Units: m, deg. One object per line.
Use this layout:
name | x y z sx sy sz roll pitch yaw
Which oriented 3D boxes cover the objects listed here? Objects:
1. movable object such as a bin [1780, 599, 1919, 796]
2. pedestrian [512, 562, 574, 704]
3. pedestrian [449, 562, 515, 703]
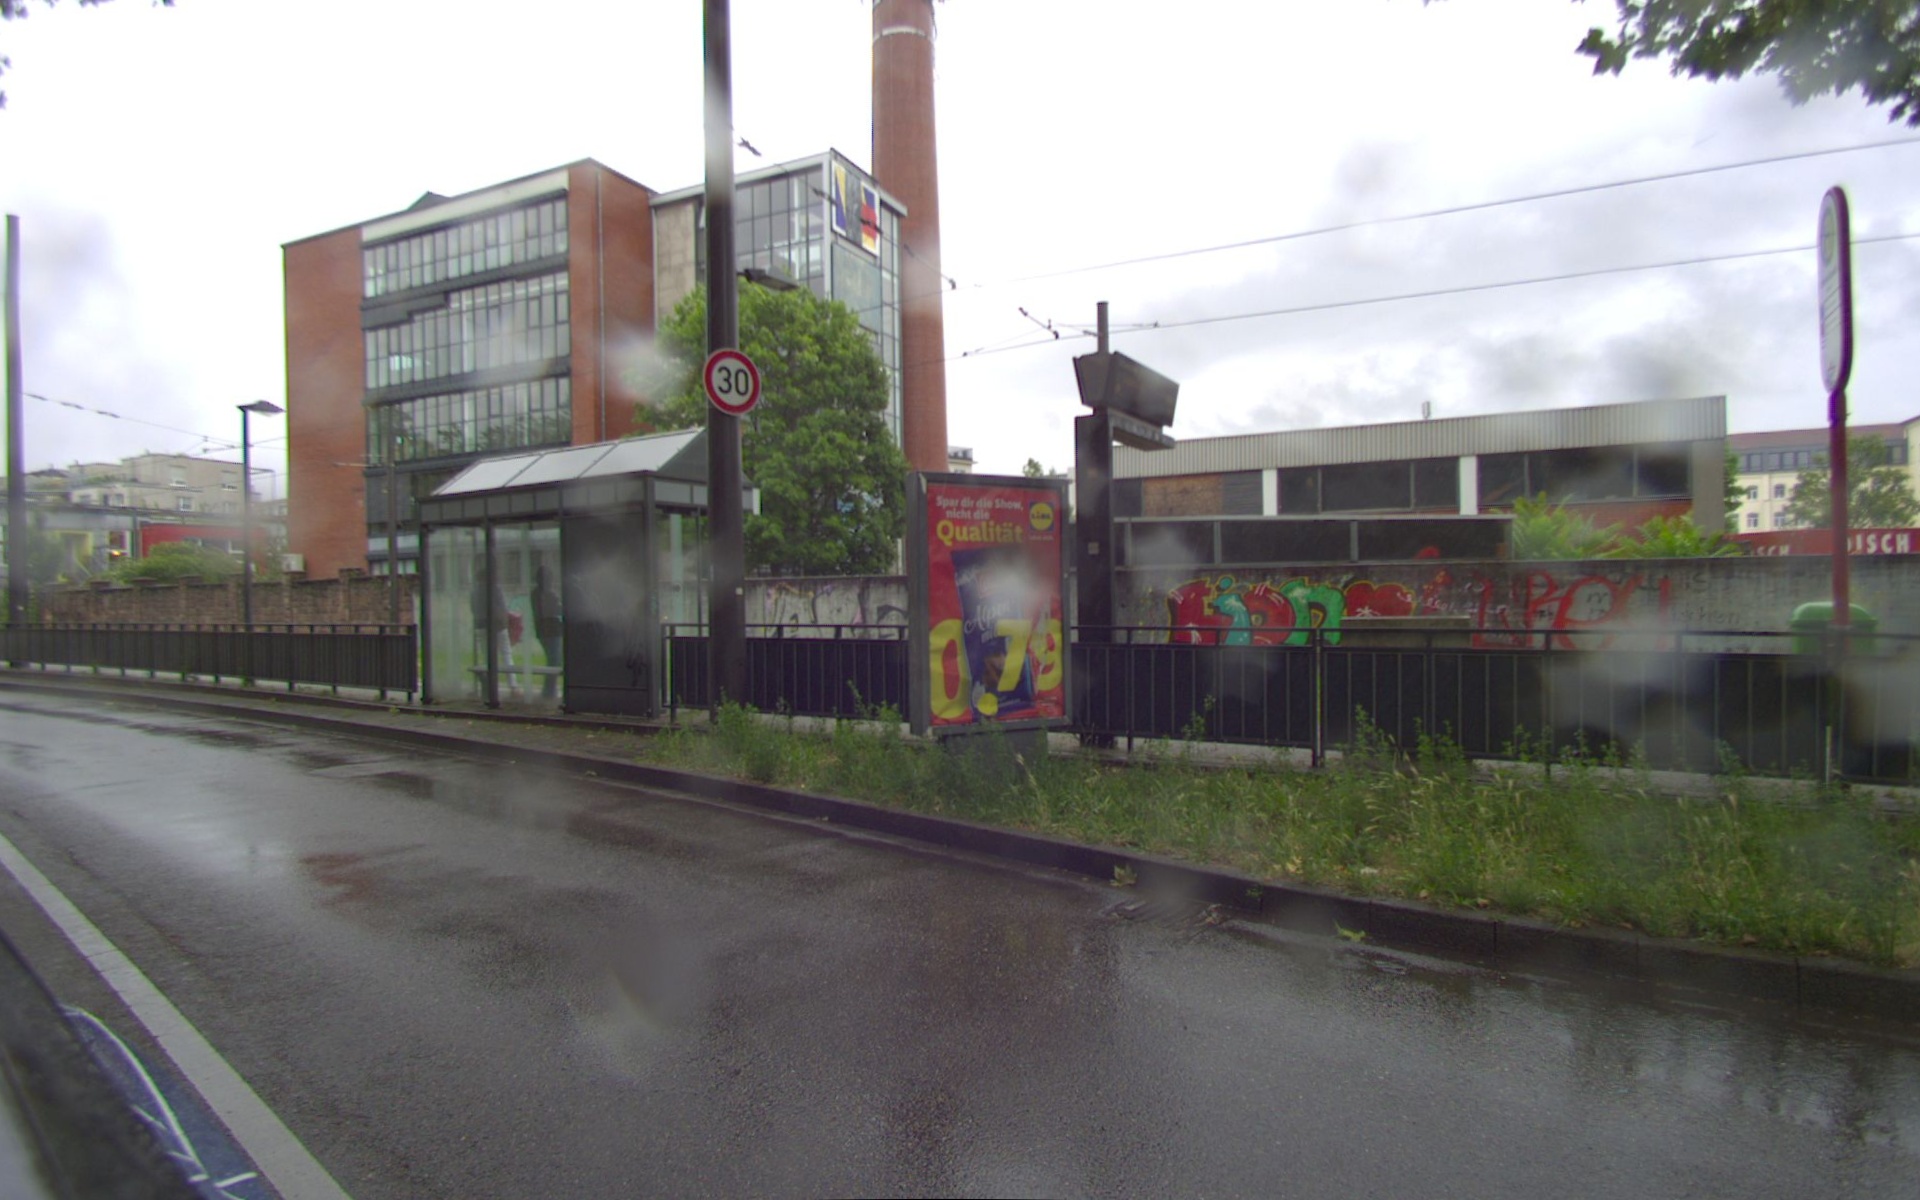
movable object such as a bin | 5.228 0.552 5.945 0.528 1.098 0.414 -1 -2 25
pedestrian | -5.235 0.416 12.733 0.560 1.744 0.583 0 -2 -3
pedestrian | -6.065 0.406 12.864 0.560 1.744 0.583 0 -2 -1
